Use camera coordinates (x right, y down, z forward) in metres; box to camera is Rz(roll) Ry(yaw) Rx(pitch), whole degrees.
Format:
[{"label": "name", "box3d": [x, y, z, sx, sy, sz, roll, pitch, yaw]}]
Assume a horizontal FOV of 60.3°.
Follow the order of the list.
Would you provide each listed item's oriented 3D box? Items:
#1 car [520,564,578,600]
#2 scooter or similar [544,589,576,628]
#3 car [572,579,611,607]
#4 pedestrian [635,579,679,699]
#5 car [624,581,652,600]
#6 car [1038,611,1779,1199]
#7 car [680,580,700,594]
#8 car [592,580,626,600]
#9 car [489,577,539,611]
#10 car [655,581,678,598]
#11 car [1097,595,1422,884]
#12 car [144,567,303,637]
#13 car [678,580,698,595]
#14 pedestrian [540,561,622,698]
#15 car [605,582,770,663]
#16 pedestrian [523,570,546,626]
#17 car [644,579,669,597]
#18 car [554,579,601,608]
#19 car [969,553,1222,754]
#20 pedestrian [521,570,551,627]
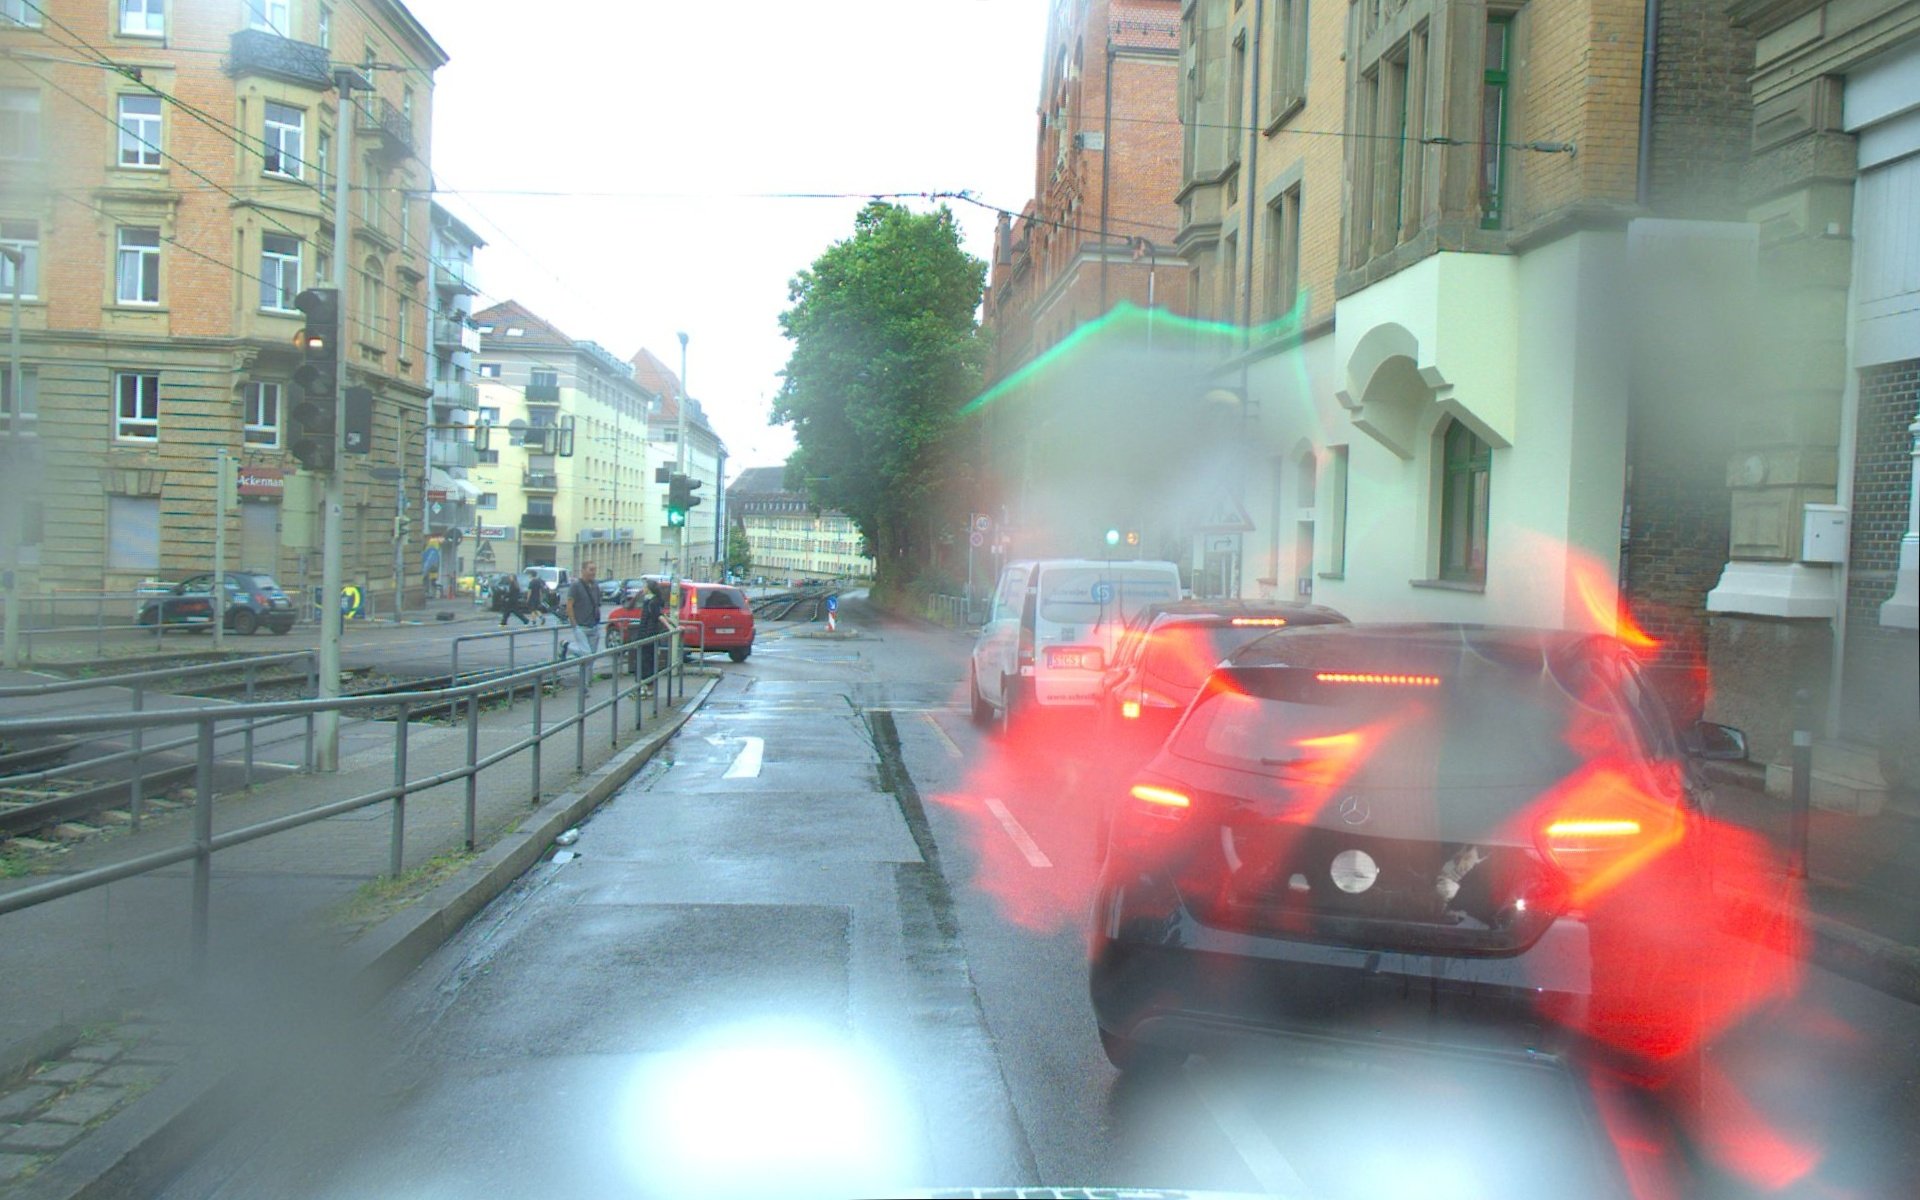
[{"label": "car", "box3d": [-18.853, -0.828, 76.044, 1.751, 1.556, 4.459, 2, 0, -3]}, {"label": "scooter or similar", "box3d": [-12.229, 0.269, 50.506, 0.915, 1.183, 0.334, 1, 1, -19]}, {"label": "car", "box3d": [-19.323, -0.387, 86.783, 1.470, 1.379, 3.160, 2, 0, -3]}, {"label": "pedestrian", "box3d": [-4.001, 0.507, 21.793, 0.522, 1.557, 0.435, 2, 0, -12]}, {"label": "car", "box3d": [-21.124, -0.648, 108.669, 1.367, 1.191, 3.160, 2, 0, -3]}, {"label": "car", "box3d": [1.919, 0.776, 6.105, 1.857, 1.414, 3.997, 2, 0, 25]}, {"label": "car", "box3d": [-24.157, -1.163, 147.896, 1.367, 1.191, 3.160, 2, 0, -3]}, {"label": "car", "box3d": [-20.190, -0.573, 95.271, 1.408, 1.126, 3.160, 2, 0, -3]}, {"label": "car", "box3d": [-18.745, -0.271, 69.631, 1.423, 1.341, 3.292, 3, 1, -5]}, {"label": "car", "box3d": [-22.323, -0.797, 125.950, 1.367, 1.191, 3.160, 2, 0, -3]}, {"label": "car", "box3d": [1.782, 0.739, 11.028, 1.677, 1.494, 4.283, 2, 0, 4]}, {"label": "car", "box3d": [-17.435, 0.041, 39.233, 3.085, 1.515, 1.425, 2, 1, 4]}, {"label": "car", "box3d": [-23.554, -1.069, 143.440, 1.367, 1.191, 3.160, 2, 0, -3]}, {"label": "pedestrian", "box3d": [-4.998, 0.383, 21.808, 0.728, 1.754, 0.736, 2, 0, 43]}, {"label": "car", "box3d": [-5.541, 0.414, 33.347, 1.670, 1.515, 3.559, 1, 1, -41]}, {"label": "pedestrian", "box3d": [-12.987, -0.061, 50.475, 0.508, 1.695, 0.476, 2, 0, -3]}, {"label": "car", "box3d": [-21.952, -0.862, 119.747, 1.367, 1.191, 3.160, 2, 0, -3]}, {"label": "car", "box3d": [-19.135, -0.329, 82.895, 1.647, 1.379, 3.700, 2, 0, -3]}, {"label": "car", "box3d": [1.309, 0.489, 17.847, 1.896, 1.863, 4.275, 2, 0, -6]}, {"label": "pedestrian", "box3d": [-12.764, -0.056, 49.790, 0.664, 1.690, 0.676, 1, 0, 3]}]
